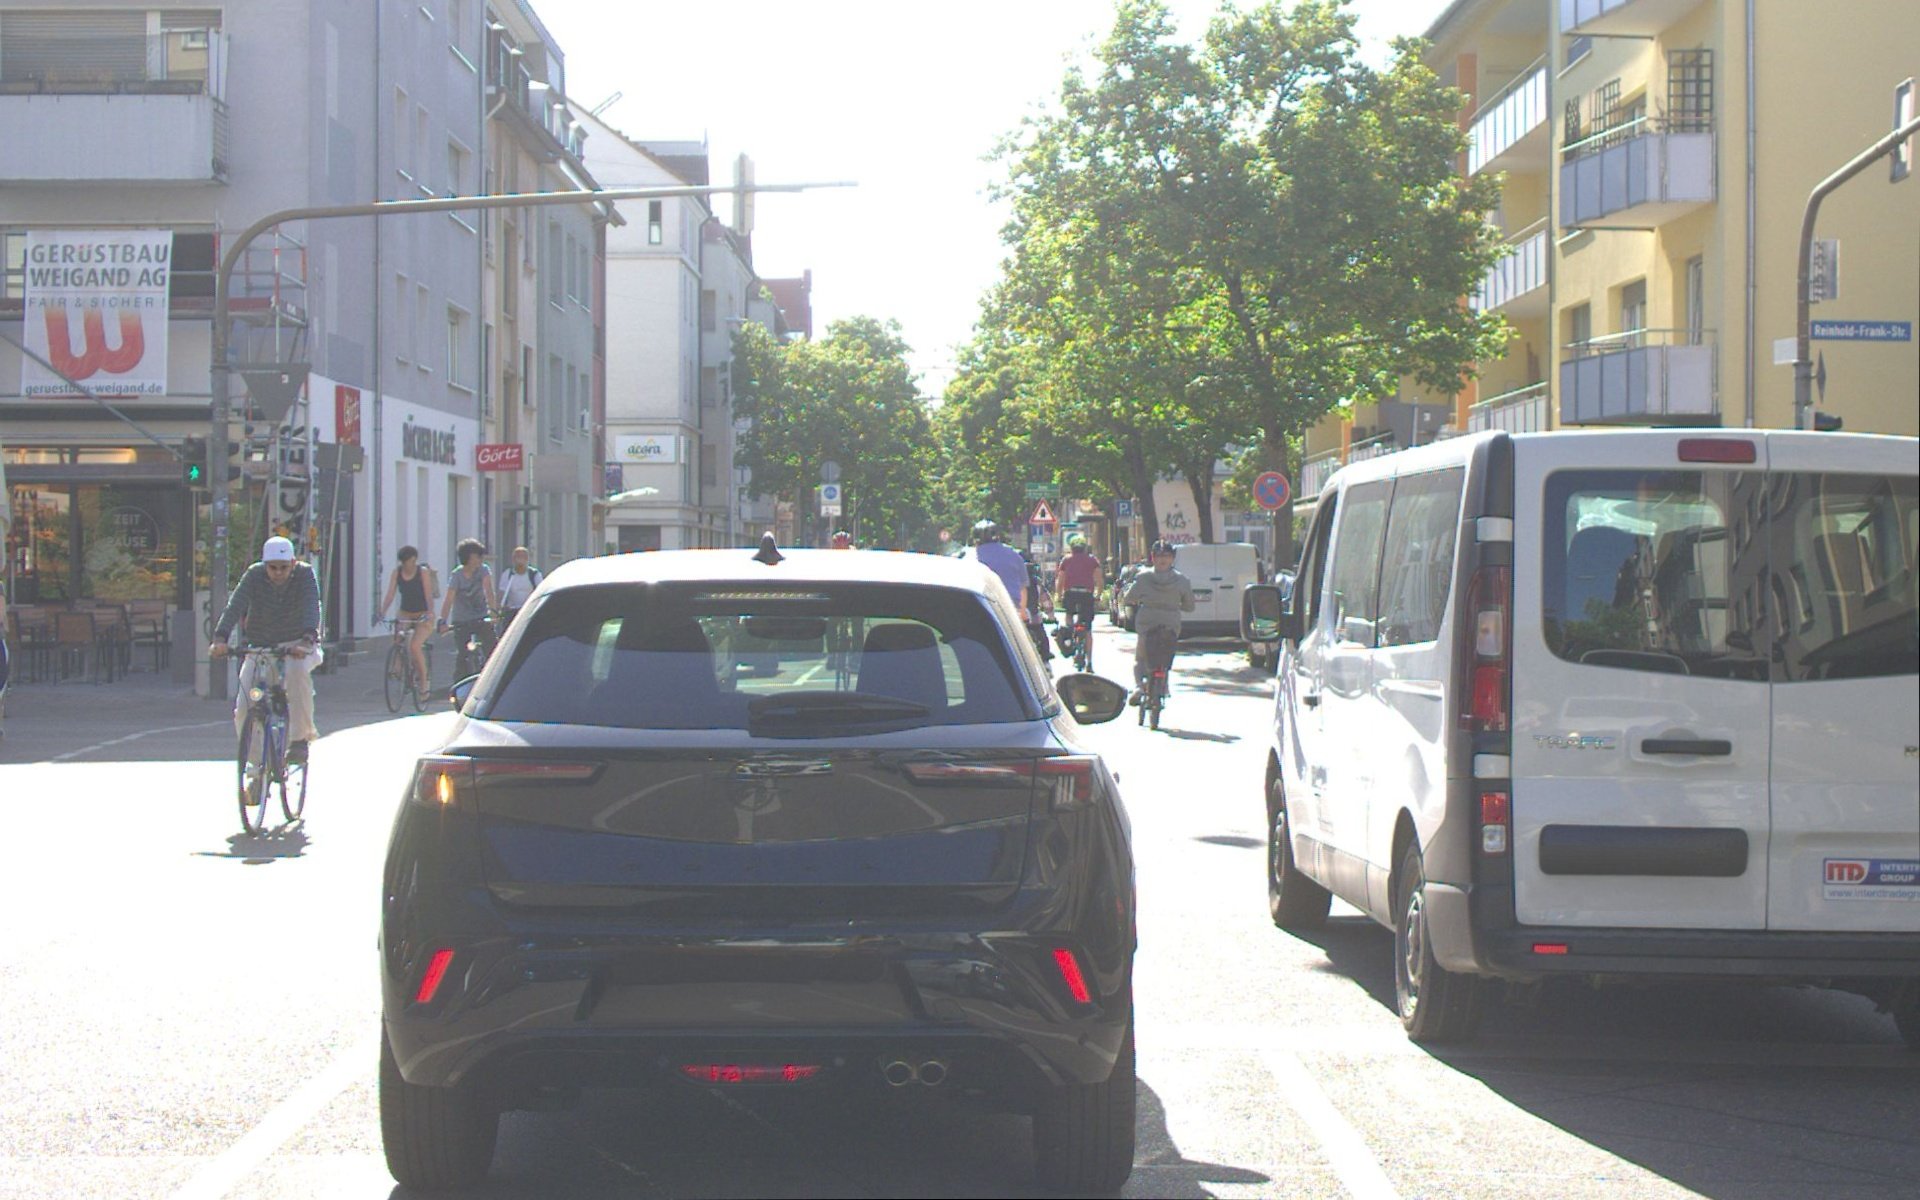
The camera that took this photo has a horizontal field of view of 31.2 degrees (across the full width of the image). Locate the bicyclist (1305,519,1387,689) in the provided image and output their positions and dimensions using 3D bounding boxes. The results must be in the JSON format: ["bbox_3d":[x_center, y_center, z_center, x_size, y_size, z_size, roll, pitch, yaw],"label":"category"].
[{"bbox_3d":[3.180,0.028,28.380,0.588,1.378,0.823,0,1,1],"label":"bicyclist"}]

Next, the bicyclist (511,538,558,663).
[{"bbox_3d":[-5.323,0.006,43.018,0.553,1.543,0.815,1,0,-7],"label":"bicyclist"}]

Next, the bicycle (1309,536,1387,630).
[{"bbox_3d":[3.664,-0.170,32.581,0.547,0.863,1.876,0,1,1],"label":"bicycle"}]

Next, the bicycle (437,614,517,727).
[{"bbox_3d":[-4.130,0.588,29.453,0.542,0.899,1.826,0,1,-4],"label":"bicycle"}]

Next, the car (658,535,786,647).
[{"bbox_3d":[-3.458,-0.130,50.519,1.592,1.560,4.089,-1,0,0],"label":"car"}]

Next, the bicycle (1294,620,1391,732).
[{"bbox_3d":[3.179,0.618,28.679,0.620,0.863,1.876,0,1,1],"label":"bicycle"}]

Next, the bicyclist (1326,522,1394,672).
[{"bbox_3d":[3.729,-0.033,32.082,0.547,1.378,0.823,0,1,1],"label":"bicyclist"}]

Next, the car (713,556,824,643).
[{"bbox_3d":[-3.295,-0.035,59.288,1.804,1.408,4.426,-2,1,-3],"label":"car"}]

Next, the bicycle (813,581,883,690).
[{"bbox_3d":[-1.314,0.405,40.815,0.801,1.251,2.139,0,1,-1],"label":"bicycle"}]

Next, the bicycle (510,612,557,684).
[{"bbox_3d":[-5.345,0.591,43.038,0.553,0.831,2.132,1,1,-7],"label":"bicycle"}]

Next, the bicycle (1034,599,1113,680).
[{"bbox_3d":[1.421,0.485,43.480,0.856,0.942,2.307,2,1,-1],"label":"bicycle"}]

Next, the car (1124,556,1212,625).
[{"bbox_3d":[4.574,-0.225,75.999,1.712,1.478,3.381,0,1,0],"label":"car"}]

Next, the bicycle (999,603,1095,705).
[{"bbox_3d":[0.872,0.532,35.081,0.856,0.942,2.307,2,1,-1],"label":"bicycle"}]

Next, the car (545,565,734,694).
[{"bbox_3d":[-3.740,0.314,40.733,1.837,1.429,4.176,0,1,0],"label":"car"}]

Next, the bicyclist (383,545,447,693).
[{"bbox_3d":[-5.626,0.186,35.518,0.542,1.515,0.774,0,1,-1],"label":"bicyclist"}]

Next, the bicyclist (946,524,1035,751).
[{"bbox_3d":[0.221,0.267,25.696,0.632,1.663,1.050,0,1,-1],"label":"bicyclist"}]

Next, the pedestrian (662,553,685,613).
[{"bbox_3d":[-7.576,-0.463,90.885,0.577,1.577,0.708,0,1,-6],"label":"pedestrian"}]

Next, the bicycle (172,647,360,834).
[{"bbox_3d":[-3.953,0.780,19.706,0.679,0.949,1.934,-1,1,-1],"label":"bicycle"}]

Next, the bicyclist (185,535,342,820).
[{"bbox_3d":[-3.960,0.424,19.604,0.679,1.571,0.899,-1,1,-1],"label":"bicyclist"}]

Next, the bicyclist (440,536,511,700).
[{"bbox_3d":[-4.143,0.150,29.435,0.542,1.386,0.788,0,1,-4],"label":"bicyclist"}]

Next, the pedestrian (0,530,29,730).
[{"bbox_3d":[-7.777,0.230,27.396,0.531,1.576,0.563,0,1,5],"label":"pedestrian"}]

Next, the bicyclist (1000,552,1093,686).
[{"bbox_3d":[0.877,0.180,35.137,0.856,1.310,1.210,2,1,-1],"label":"bicyclist"}]

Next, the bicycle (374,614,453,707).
[{"bbox_3d":[-5.621,0.616,35.452,0.542,0.899,1.826,0,1,-1],"label":"bicycle"}]

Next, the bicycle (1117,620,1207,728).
[{"bbox_3d":[1.733,0.622,29.743,0.691,0.863,1.876,0,1,1],"label":"bicycle"}]

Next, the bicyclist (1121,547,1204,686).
[{"bbox_3d":[1.749,0.137,29.754,0.692,1.189,0.595,0,1,1],"label":"bicyclist"}]

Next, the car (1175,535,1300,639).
[{"bbox_3d":[5.028,-0.262,62.857,2.046,1.840,4.584,0,1,2],"label":"car"}]

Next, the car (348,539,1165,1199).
[{"bbox_3d":[-0.467,0.631,9.437,1.762,1.553,4.000,0,0,-1],"label":"car"}]

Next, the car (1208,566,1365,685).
[{"bbox_3d":[4.235,0.306,45.060,1.712,1.478,3.480,0,1,0],"label":"car"}]

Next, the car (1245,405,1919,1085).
[{"bbox_3d":[2.289,0.409,12.506,1.968,1.933,5.056,2,0,-1],"label":"car"}]

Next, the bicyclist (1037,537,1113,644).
[{"bbox_3d":[1.452,-0.126,43.486,0.856,1.310,1.210,2,1,-1],"label":"bicyclist"}]

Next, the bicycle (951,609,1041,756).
[{"bbox_3d":[0.259,0.606,26.066,0.632,1.038,1.795,0,1,-1],"label":"bicycle"}]

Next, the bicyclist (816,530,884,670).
[{"bbox_3d":[-1.310,-0.009,41.099,0.801,1.644,1.125,0,1,-1],"label":"bicyclist"}]
